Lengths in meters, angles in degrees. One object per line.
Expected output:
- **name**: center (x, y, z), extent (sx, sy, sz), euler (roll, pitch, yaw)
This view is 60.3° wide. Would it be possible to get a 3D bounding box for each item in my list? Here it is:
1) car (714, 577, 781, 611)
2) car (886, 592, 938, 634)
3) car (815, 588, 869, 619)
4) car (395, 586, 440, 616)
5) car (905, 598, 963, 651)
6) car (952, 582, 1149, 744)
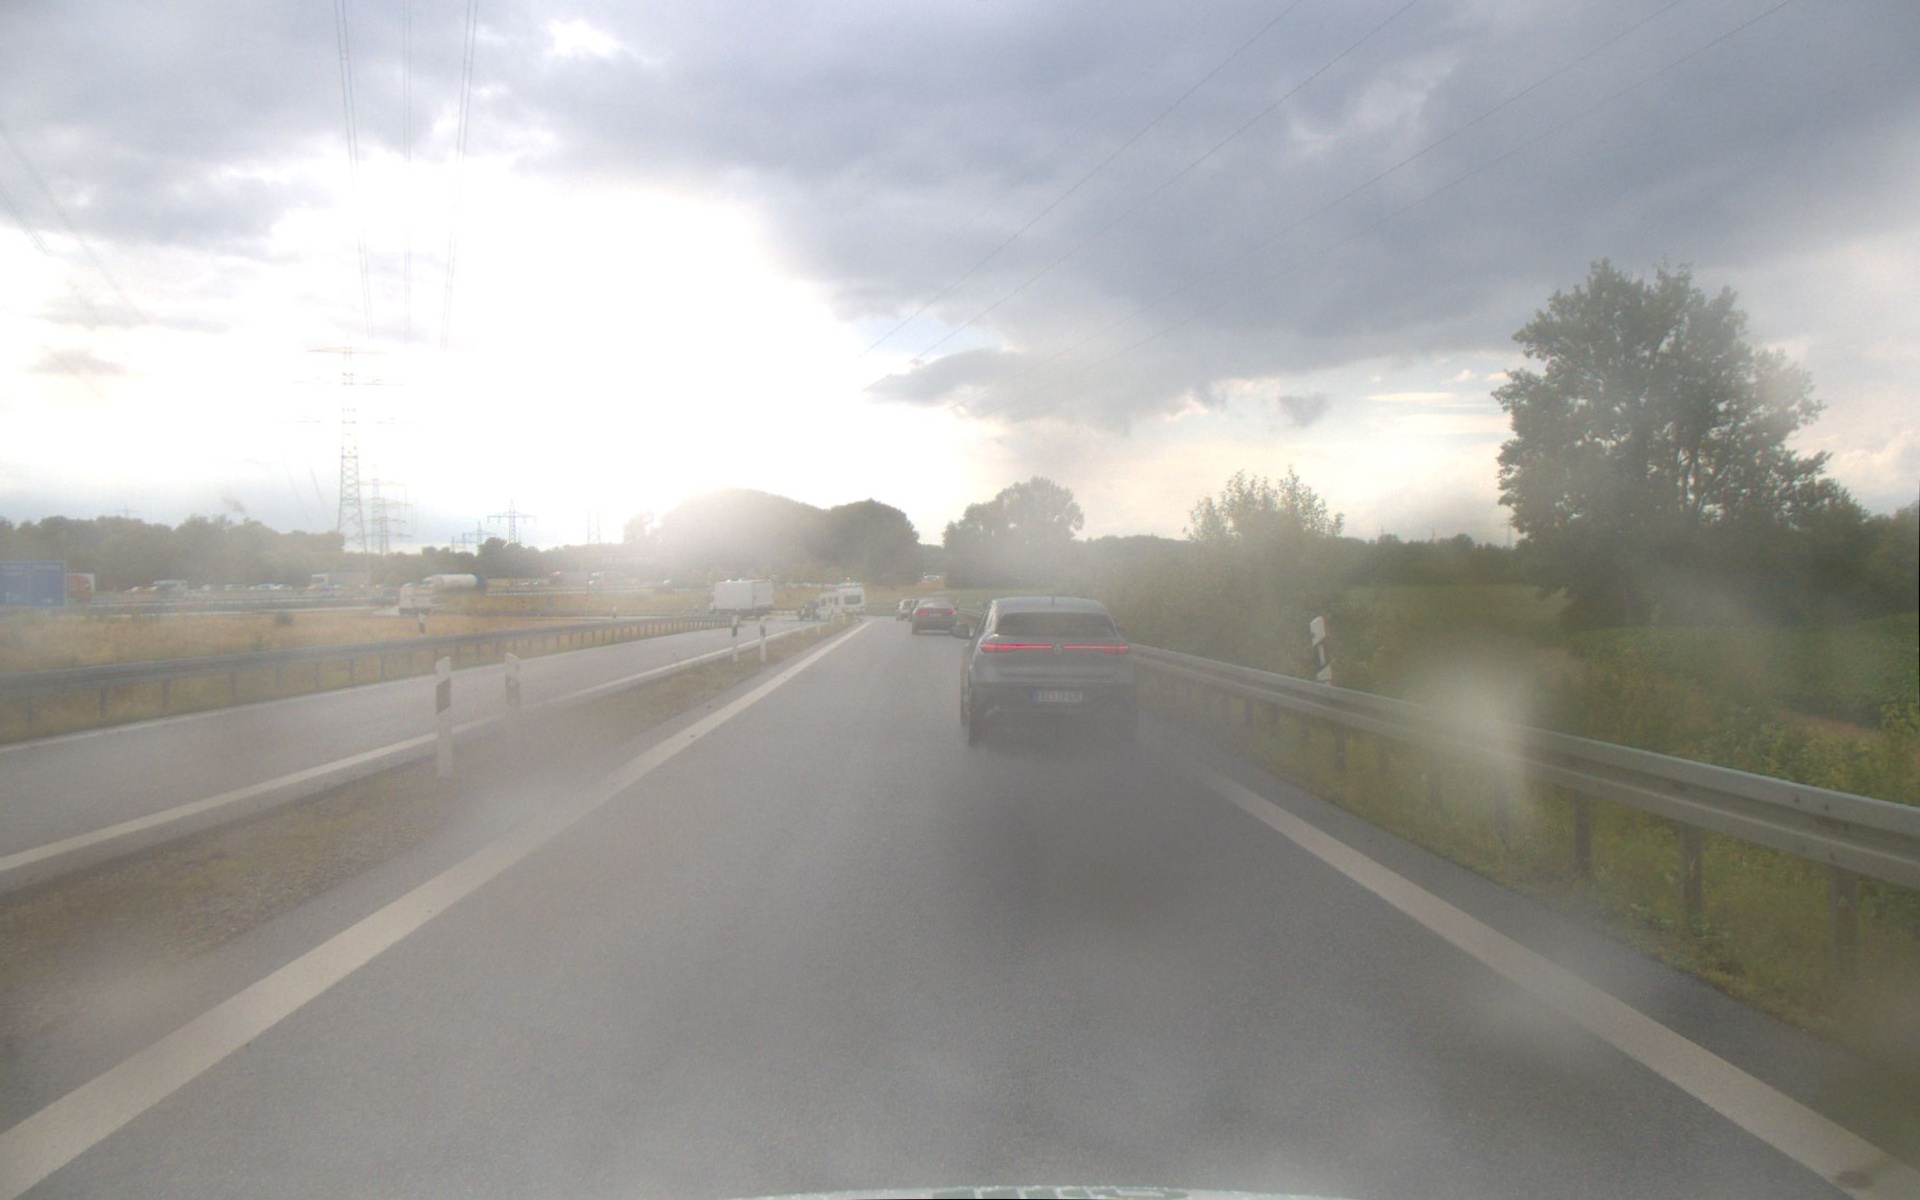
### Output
- **car**: center (-20.672, -0.612, 160.894), extent (3.118, 3.002, 7.102), euler (-2, 3, -41)
- **car**: center (-3.094, 0.776, 105.085), extent (2.311, 2.346, 5.112), euler (-1, 3, -13)
- **car**: center (-10.048, 0.299, 140.554), extent (2.331, 2.346, 5.068), euler (-2, 3, -34)
- **car**: center (-69.616, 0.125, 212.072), extent (3.351, 3.673, 8.944), euler (-1, 0, -32)
- **car**: center (-1.144, 1.006, 69.863), extent (2.079, 2.053, 5.529), euler (-1, 1, -4)
- **car**: center (0.927, 0.609, 18.659), extent (1.952, 1.594, 4.149), euler (1, 1, 1)
